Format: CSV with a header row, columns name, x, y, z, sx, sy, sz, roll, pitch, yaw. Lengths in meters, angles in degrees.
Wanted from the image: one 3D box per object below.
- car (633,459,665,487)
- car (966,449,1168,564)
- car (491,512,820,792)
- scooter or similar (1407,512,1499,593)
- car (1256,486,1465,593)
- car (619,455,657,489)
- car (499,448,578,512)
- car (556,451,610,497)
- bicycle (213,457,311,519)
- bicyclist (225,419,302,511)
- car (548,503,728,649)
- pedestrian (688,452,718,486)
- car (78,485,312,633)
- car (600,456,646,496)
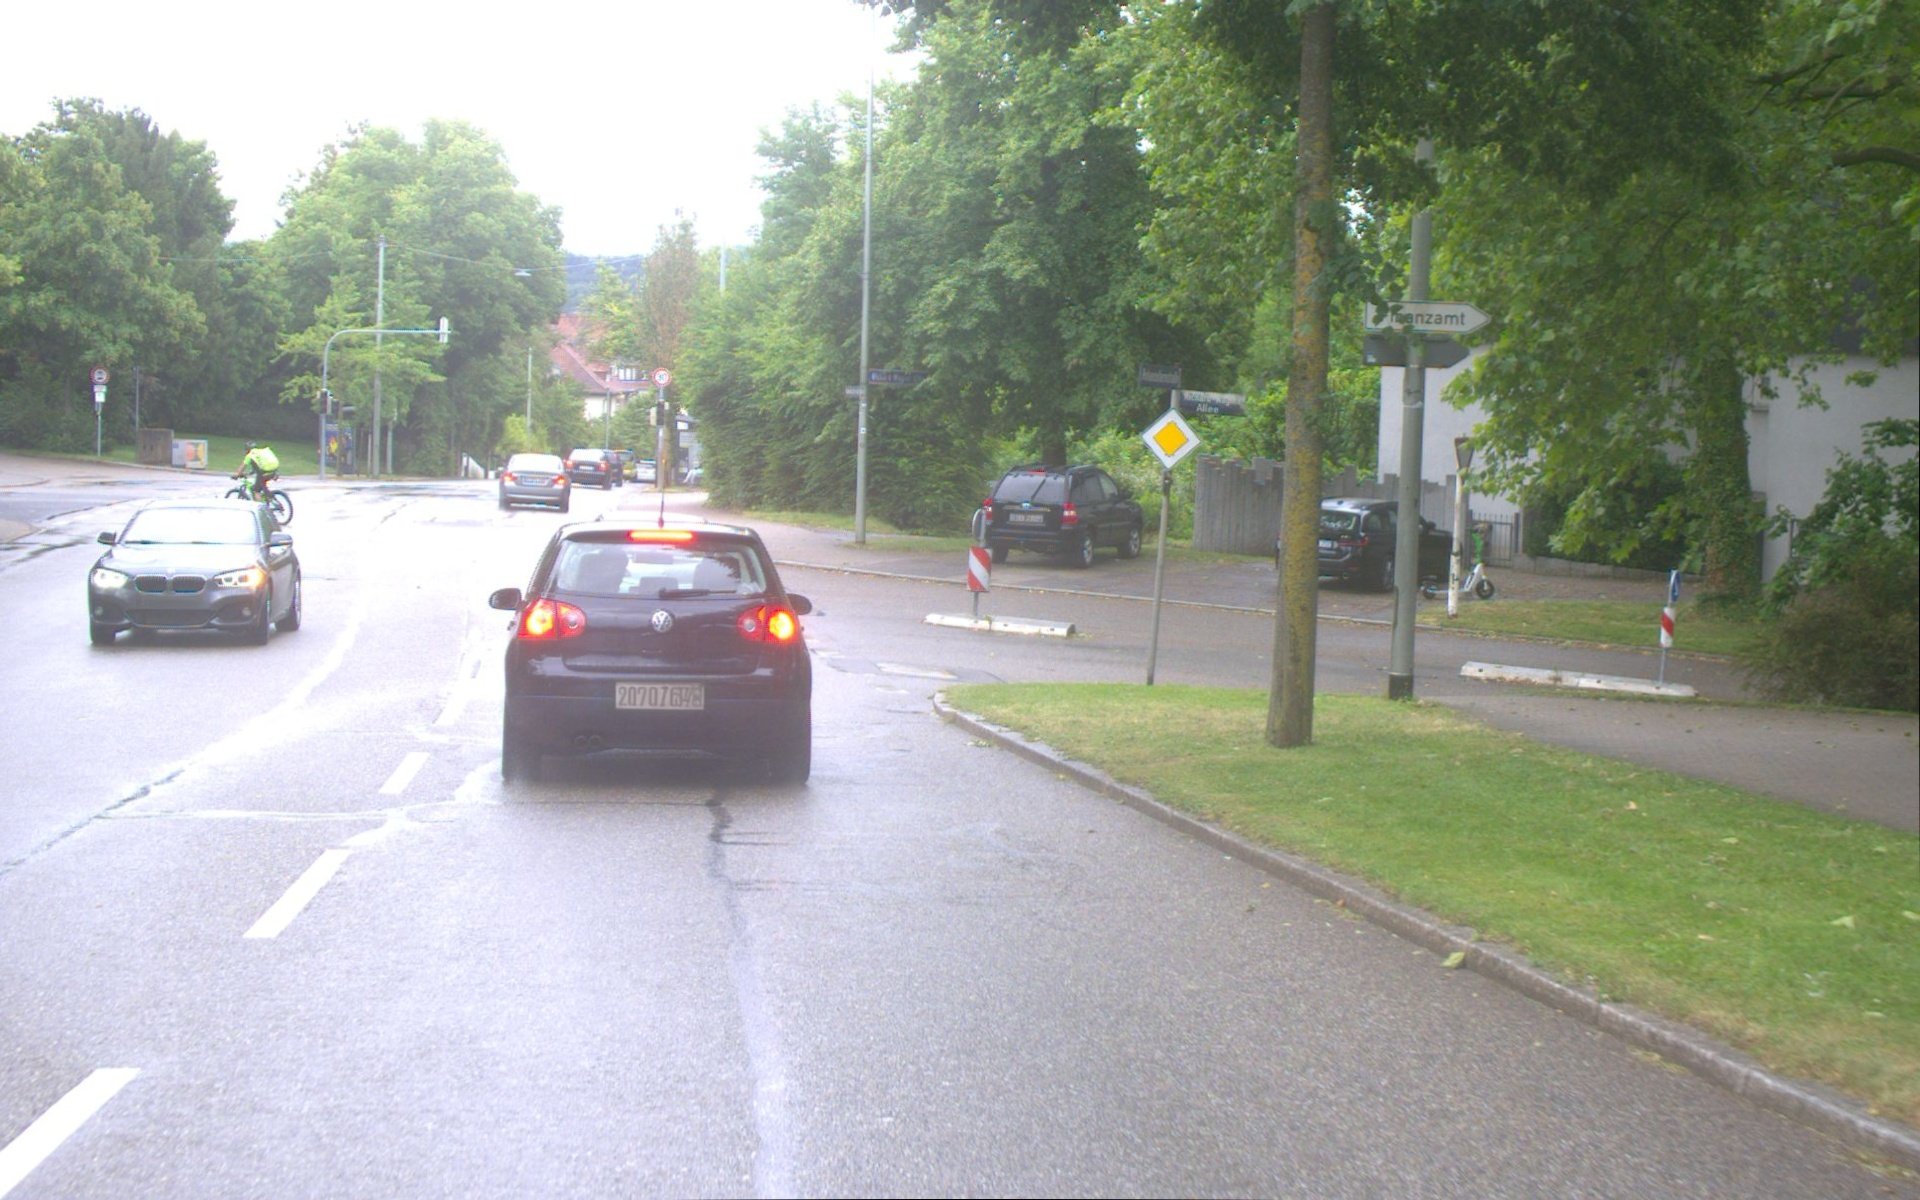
name,x,y,z,sx,sy,sz,roll,pitch,yaw
car,-18.458,-7.550,204.092,1.721,1.459,4.001,5,2,-5
car,1.924,-1.679,60.116,1.950,1.683,4.899,5,5,21
car,-1.800,0.257,20.560,1.721,1.459,4.001,2,1,-5
scooter or similar,7.980,-0.774,55.685,1.335,1.281,0.562,0,2,-13
car,6.797,-1.062,57.951,1.754,1.464,4.558,6,6,30
car,-15.739,-6.262,168.031,1.721,1.459,4.001,5,2,-5
car,-10.672,-3.058,87.201,1.721,1.459,4.001,5,2,-5
car,-13.335,-4.485,121.761,1.721,1.459,4.001,5,2,-5
bicycle,-13.659,-2.191,67.281,2.037,1.151,0.852,3,2,44
bicyclist,-13.633,-2.639,67.271,1.285,1.749,0.852,3,2,44
car,-3.596,-0.304,37.910,1.754,1.459,4.001,1,2,-8
pedestrian,-10.455,-5.332,139.886,1.074,1.351,0.918,1,2,3
car,-7.793,-0.423,35.349,1.721,1.379,4.140,2,1,-4
car,-13.667,-5.055,139.576,1.721,1.459,4.001,5,2,-5
